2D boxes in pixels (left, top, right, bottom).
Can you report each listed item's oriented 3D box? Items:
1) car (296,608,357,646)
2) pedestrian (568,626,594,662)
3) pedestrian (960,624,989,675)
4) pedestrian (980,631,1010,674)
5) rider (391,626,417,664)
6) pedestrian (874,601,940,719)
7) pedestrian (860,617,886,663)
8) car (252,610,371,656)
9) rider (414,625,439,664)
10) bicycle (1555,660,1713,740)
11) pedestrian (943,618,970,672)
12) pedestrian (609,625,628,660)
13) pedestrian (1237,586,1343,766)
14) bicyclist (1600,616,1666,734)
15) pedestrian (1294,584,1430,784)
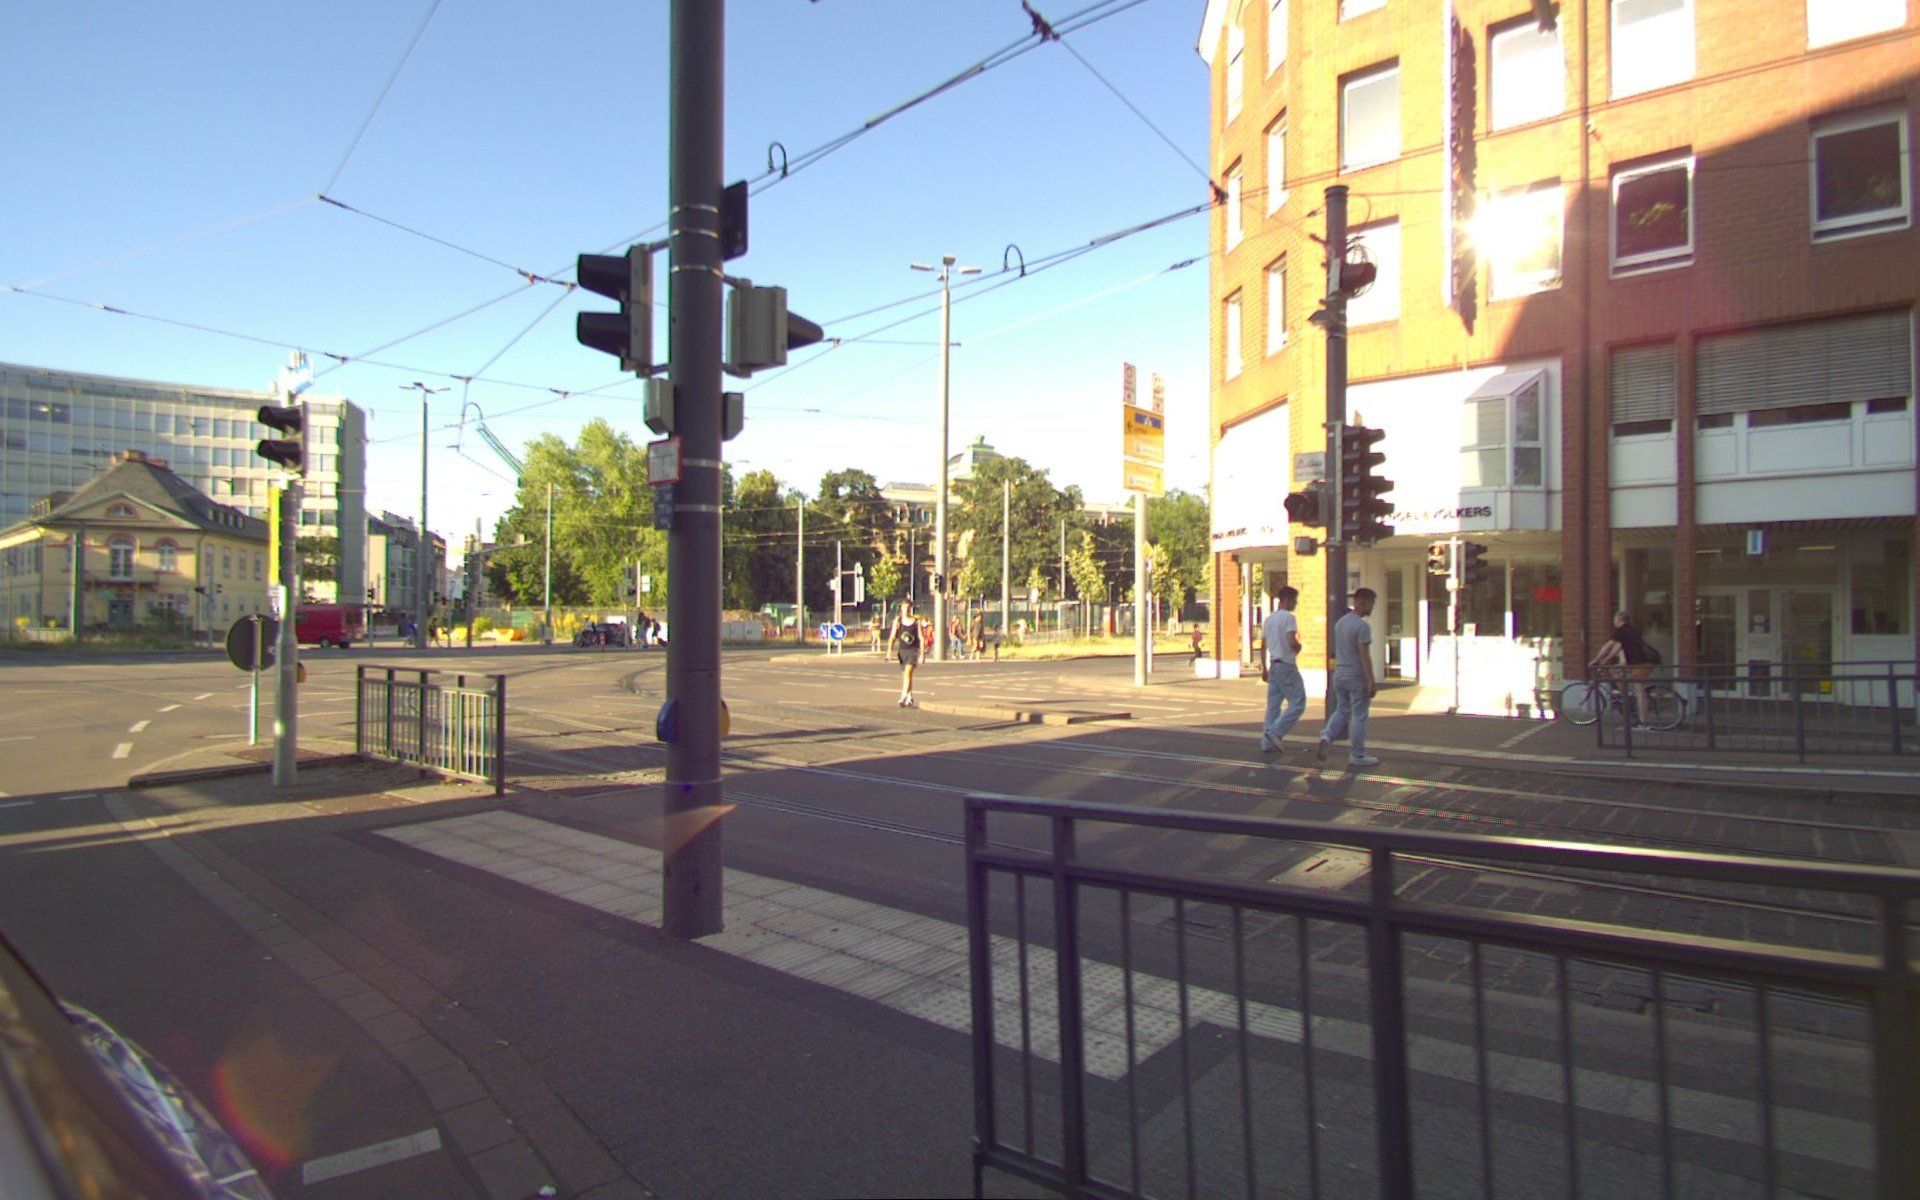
[{"bbox_3d":[-54.199,2.290,86.794,2.501,3.071,6.391,2,-2,-14],"label":"car"},{"bbox_3d":[-22.169,2.535,59.140,0.989,2.029,1.059,-1,1,43],"label":"pedestrian"},{"bbox_3d":[0.523,1.793,36.691,0.846,1.780,0.813,-2,0,-14],"label":"pedestrian"},{"bbox_3d":[1.284,1.930,37.255,0.846,1.522,0.813,-2,0,-14],"label":"pedestrian"},{"bbox_3d":[-30.607,2.457,55.728,0.996,2.029,1.023,-2,0,-17],"label":"rider"},{"bbox_3d":[-0.838,0.939,16.224,0.851,1.817,0.808,-1,0,11],"label":"pedestrian"},{"bbox_3d":[-3.943,1.815,45.976,0.856,2.029,0.804,-1,0,25],"label":"pedestrian"},{"bbox_3d":[-37.692,1.903,58.912,5.346,2.474,2.543,-1,-1,0],"label":"car"},{"bbox_3d":[-29.516,2.452,55.986,0.996,2.029,0.992,-2,0,-17],"label":"rider"},{"bbox_3d":[10.724,1.557,16.147,2.051,1.129,0.567,-1,1,37],"label":"bicycle"},{"bbox_3d":[-0.143,1.721,39.144,0.846,2.029,0.813,-2,0,-14],"label":"pedestrian"},{"bbox_3d":[-20.550,2.547,60.931,0.996,2.029,0.992,-2,0,-17],"label":"pedestrian"},{"bbox_3d":[3.426,0.759,10.574,0.800,1.780,0.860,-1,0,2],"label":"pedestrian"},{"bbox_3d":[10.733,1.167,16.135,0.810,1.780,0.729,-1,0,36],"label":"bicyclist"},{"bbox_3d":[3.810,0.756,9.642,0.797,1.780,0.864,-2,0,-20],"label":"pedestrian"}]
